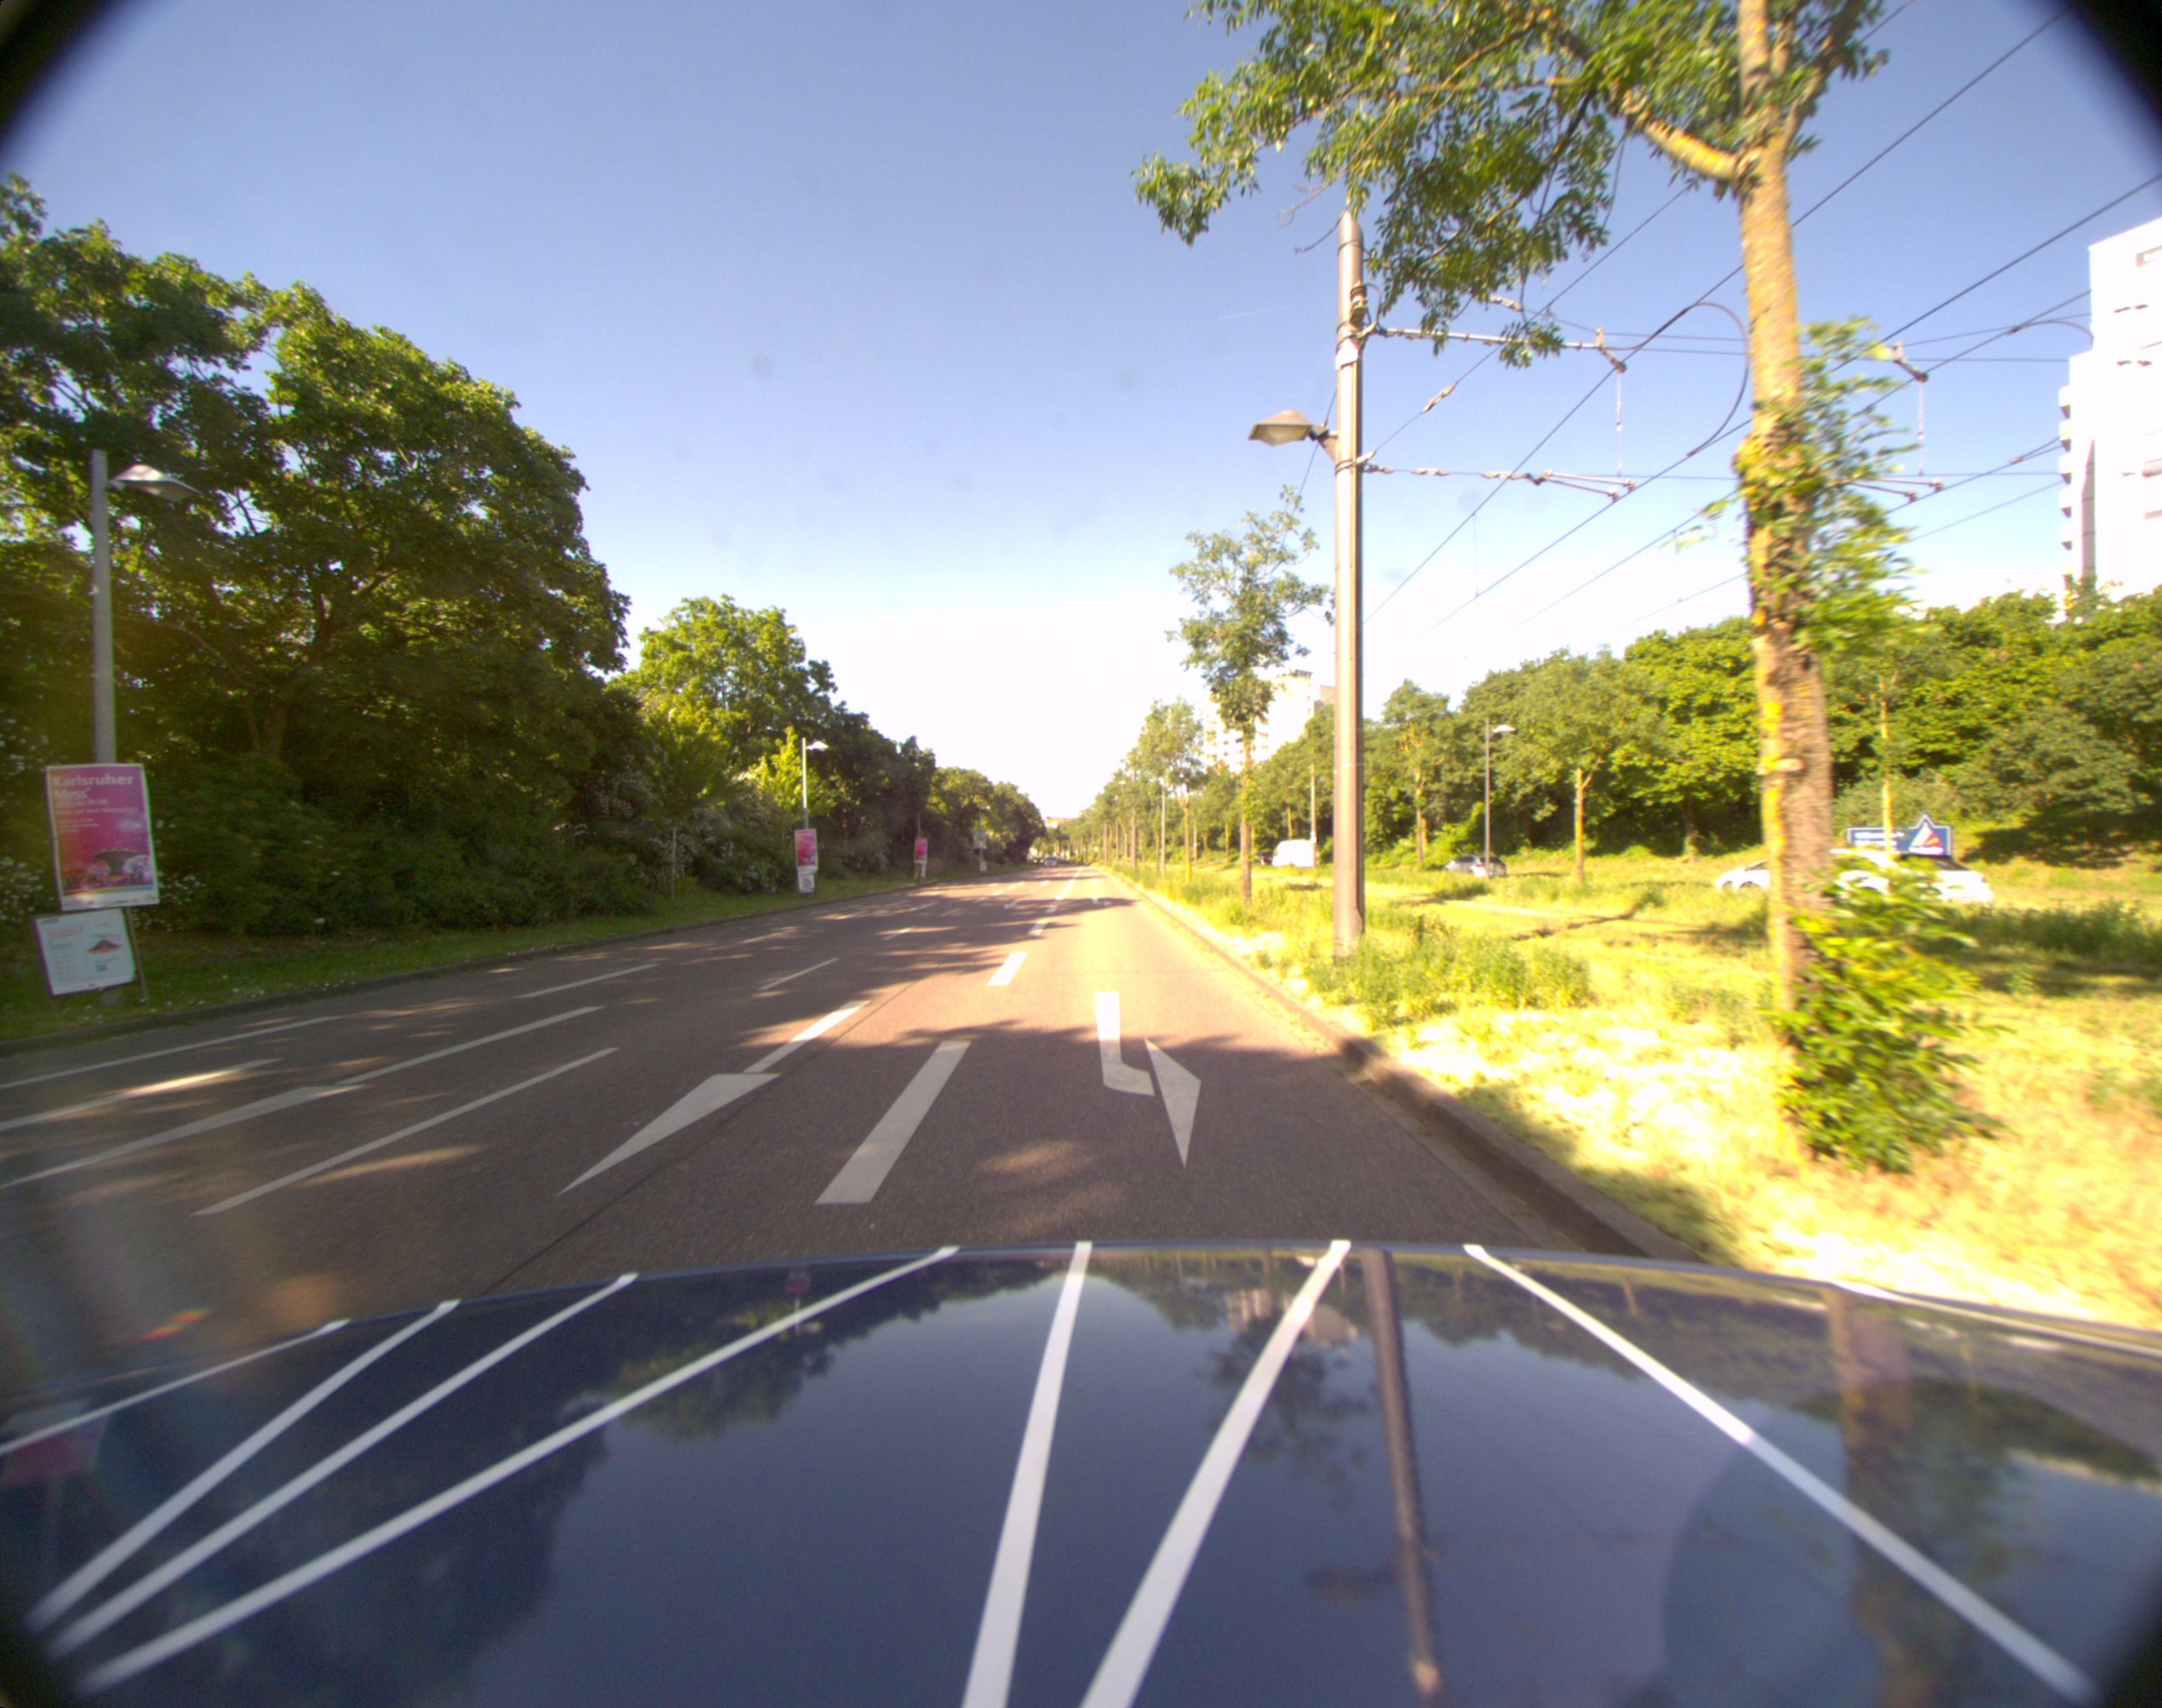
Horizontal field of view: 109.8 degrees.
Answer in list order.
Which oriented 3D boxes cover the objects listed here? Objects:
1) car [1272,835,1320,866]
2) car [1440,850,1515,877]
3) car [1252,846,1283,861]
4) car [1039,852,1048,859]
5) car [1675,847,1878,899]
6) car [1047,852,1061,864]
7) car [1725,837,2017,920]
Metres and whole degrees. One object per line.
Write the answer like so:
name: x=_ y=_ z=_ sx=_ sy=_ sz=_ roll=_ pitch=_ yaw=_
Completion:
car: x=17.632 y=-0.278 z=62.719 sx=2.044 sy=2.355 sz=6.880 roll=-2 pitch=0 yaw=1
car: x=21.135 y=0.468 z=40.671 sx=1.802 sy=1.285 sz=3.999 roll=-2 pitch=0 yaw=-2
car: x=20.045 y=-0.076 z=81.908 sx=1.998 sy=1.575 sz=5.272 roll=-2 pitch=0 yaw=0
car: x=-7.787 y=0.329 z=158.411 sx=1.831 sy=1.400 sz=4.216 roll=-2 pitch=0 yaw=-1
car: x=20.915 y=0.508 z=23.179 sx=1.904 sy=1.390 sz=4.542 roll=-2 pitch=0 yaw=-2
car: x=-3.841 y=0.601 z=107.426 sx=1.673 sy=1.531 sz=4.060 roll=-4 pitch=0 yaw=1
car: x=17.817 y=0.468 z=17.559 sx=1.899 sy=1.612 sz=4.656 roll=-2 pitch=0 yaw=0
